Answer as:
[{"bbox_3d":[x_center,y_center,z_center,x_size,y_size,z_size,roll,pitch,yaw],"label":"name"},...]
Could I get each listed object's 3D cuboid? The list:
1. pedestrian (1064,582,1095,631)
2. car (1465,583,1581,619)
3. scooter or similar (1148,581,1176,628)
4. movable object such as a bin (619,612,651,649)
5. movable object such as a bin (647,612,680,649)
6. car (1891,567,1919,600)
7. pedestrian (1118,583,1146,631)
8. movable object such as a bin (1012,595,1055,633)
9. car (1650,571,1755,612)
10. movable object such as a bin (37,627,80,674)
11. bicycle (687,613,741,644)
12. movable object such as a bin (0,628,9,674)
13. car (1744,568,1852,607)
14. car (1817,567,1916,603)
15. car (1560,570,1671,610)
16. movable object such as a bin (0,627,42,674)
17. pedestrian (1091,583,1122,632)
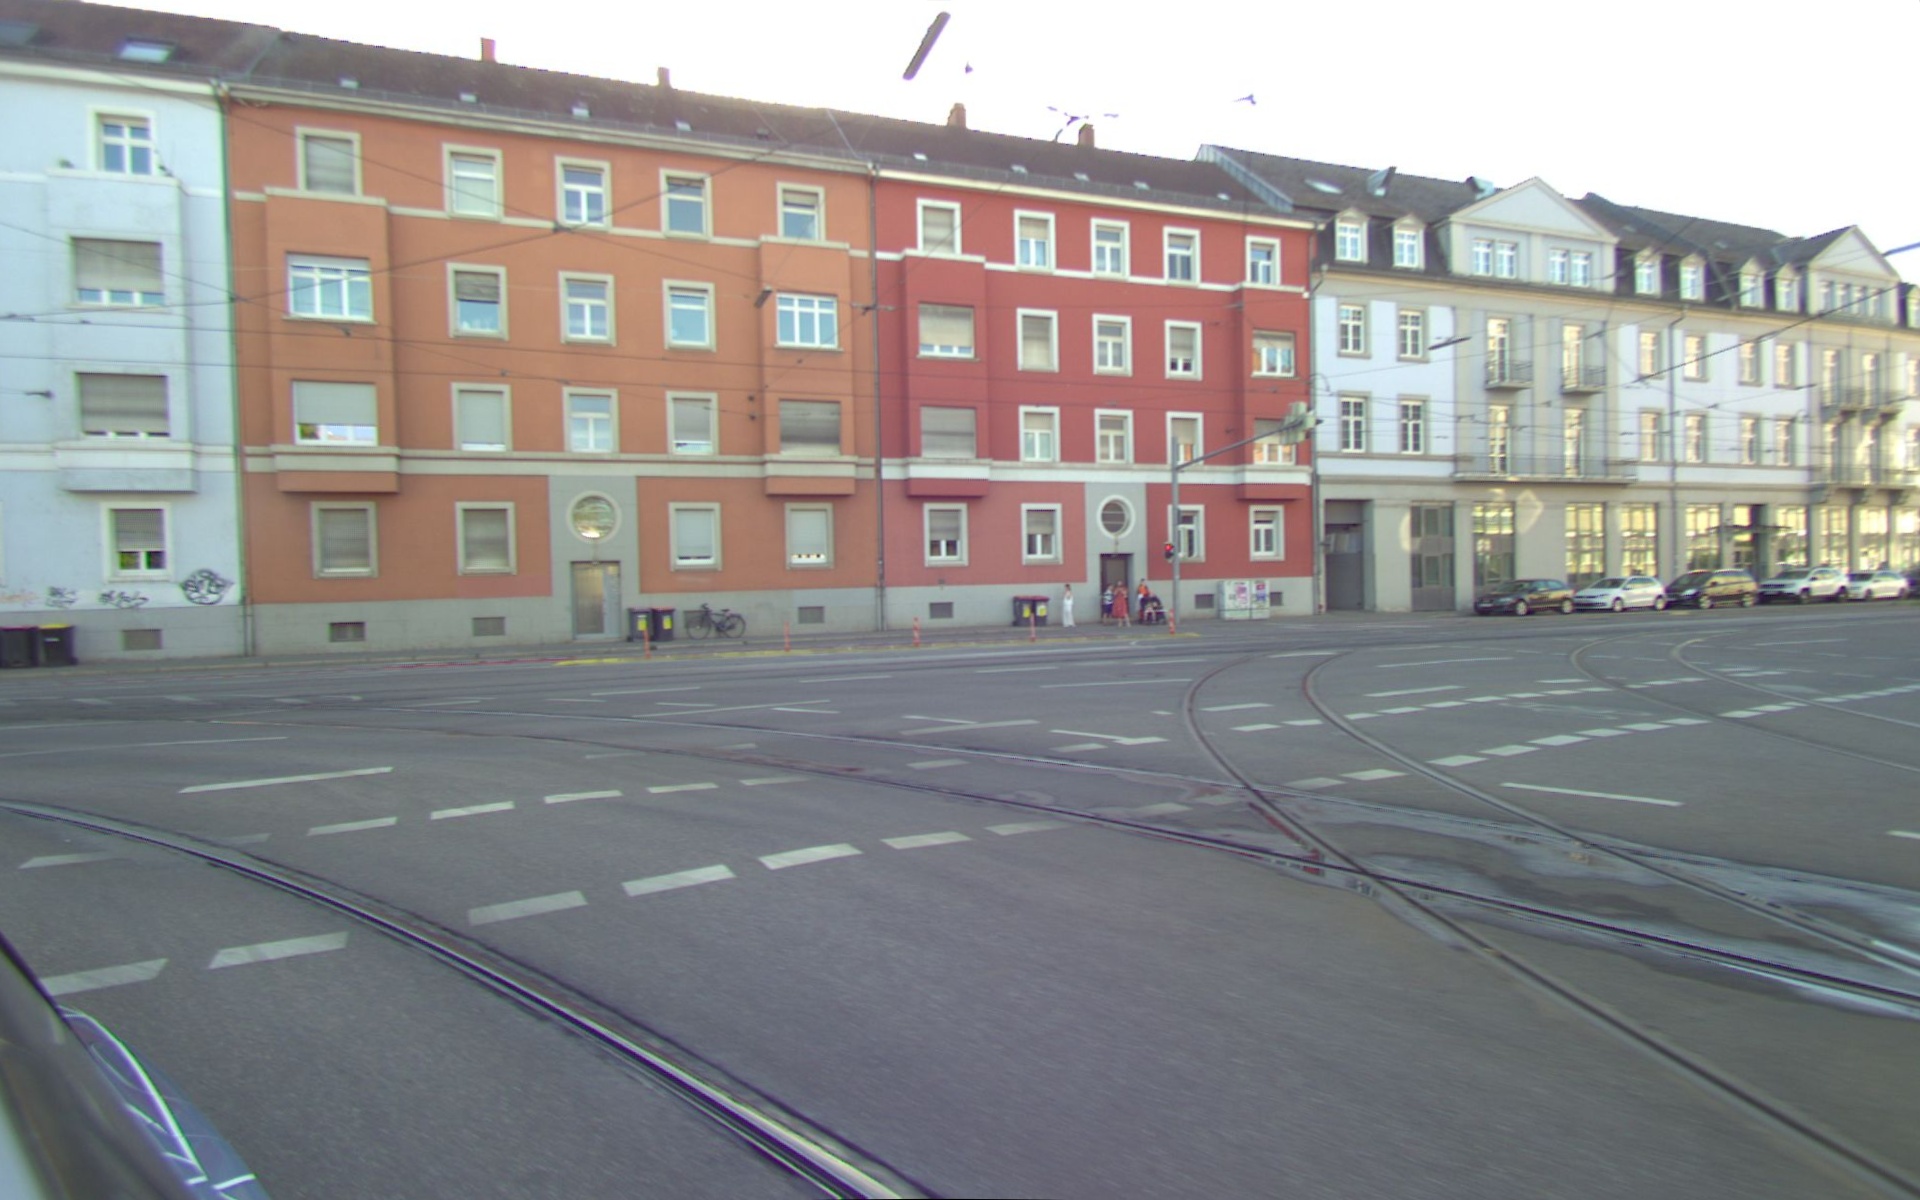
[{"bbox_3d":[4.115,0.224,34.896,0.644,1.645,0.796,-2,1,-42],"label":"pedestrian"},{"bbox_3d":[21.570,0.031,38.767,3.931,1.242,1.730,-2,0,-20],"label":"car"},{"bbox_3d":[7.093,0.157,35.550,0.653,1.645,0.785,-1,1,37],"label":"scooter or similar"},{"bbox_3d":[-9.675,0.886,30.147,0.797,1.048,0.848,-1,0,-25],"label":"movable object such as a bin"},{"bbox_3d":[-8.949,0.916,30.520,0.797,1.048,0.848,-1,0,-25],"label":"movable object such as a bin"},{"bbox_3d":[46.830,-0.835,48.409,3.931,1.563,1.730,-2,0,-20],"label":"car"},{"bbox_3d":[6.095,0.242,35.924,0.653,1.645,0.785,-1,1,37],"label":"pedestrian"},{"bbox_3d":[2.513,0.484,34.775,1.213,1.259,0.876,-1,0,-14],"label":"movable object such as a bin"},{"bbox_3d":[31.208,-0.357,42.539,3.789,1.563,1.730,-2,0,-20],"label":"car"},{"bbox_3d":[-22.657,1.260,25.452,0.572,1.114,0.707,-1,1,-21],"label":"movable object such as a bin"},{"bbox_3d":[-7.566,0.865,31.163,1.577,0.897,0.336,-1,0,-16],"label":"bicycle"},{"bbox_3d":[-24.014,1.269,24.949,0.572,1.114,0.707,-1,1,-21],"label":"movable object such as a bin"},{"bbox_3d":[37.348,-0.557,45.119,4.200,1.563,1.847,-2,0,-20],"label":"car"},{"bbox_3d":[42.051,-0.708,46.954,3.931,1.563,1.730,-2,0,-20],"label":"car"},{"bbox_3d":[26.574,-0.410,41.029,3.931,1.463,1.730,-2,0,-20],"label":"car"},{"bbox_3d":[-23.403,1.255,25.189,0.572,1.114,0.707,-1,1,-21],"label":"movable object such as a bin"},{"bbox_3d":[5.112,0.257,35.311,0.828,1.645,0.787,-1,1,32],"label":"pedestrian"}]
